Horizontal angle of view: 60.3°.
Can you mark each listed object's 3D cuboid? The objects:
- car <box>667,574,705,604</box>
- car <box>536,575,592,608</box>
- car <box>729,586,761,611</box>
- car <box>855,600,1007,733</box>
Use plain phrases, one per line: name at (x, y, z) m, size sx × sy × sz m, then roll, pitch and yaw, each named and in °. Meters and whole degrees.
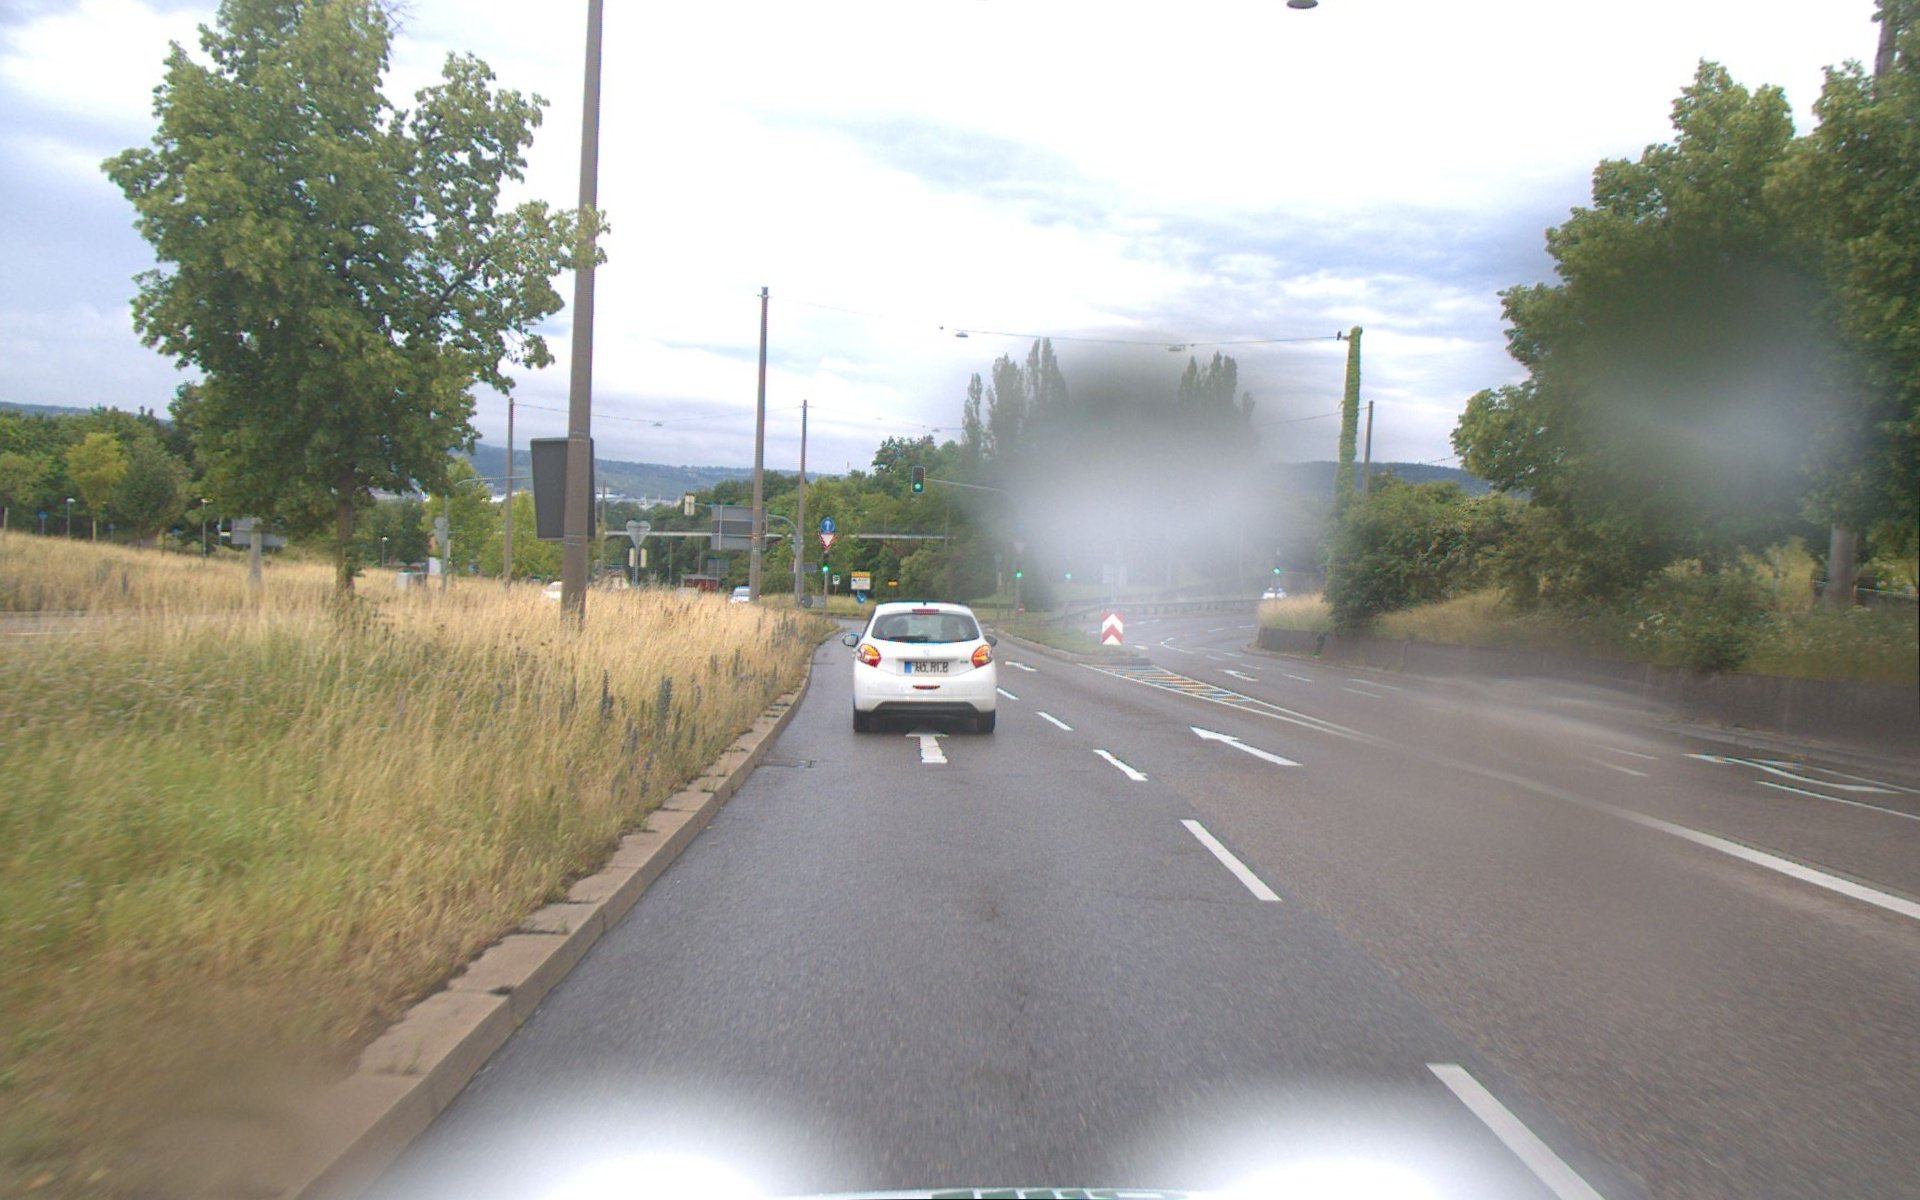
car at (-15.855, -0.633, 95.754) m, size 1.858 × 1.564 × 3.995 m, roll 2°, pitch -1°, yaw -5°
car at (-21.448, -0.435, 89.738) m, size 1.847 × 1.639 × 4.676 m, roll 2°, pitch -1°, yaw 0°
car at (-12.729, -0.079, 98.103) m, size 1.704 × 1.397 × 3.994 m, roll 2°, pitch -1°, yaw -6°
car at (-0.349, 0.757, 20.166) m, size 1.674 × 1.465 × 3.689 m, roll 0°, pitch -1°, yaw -1°
